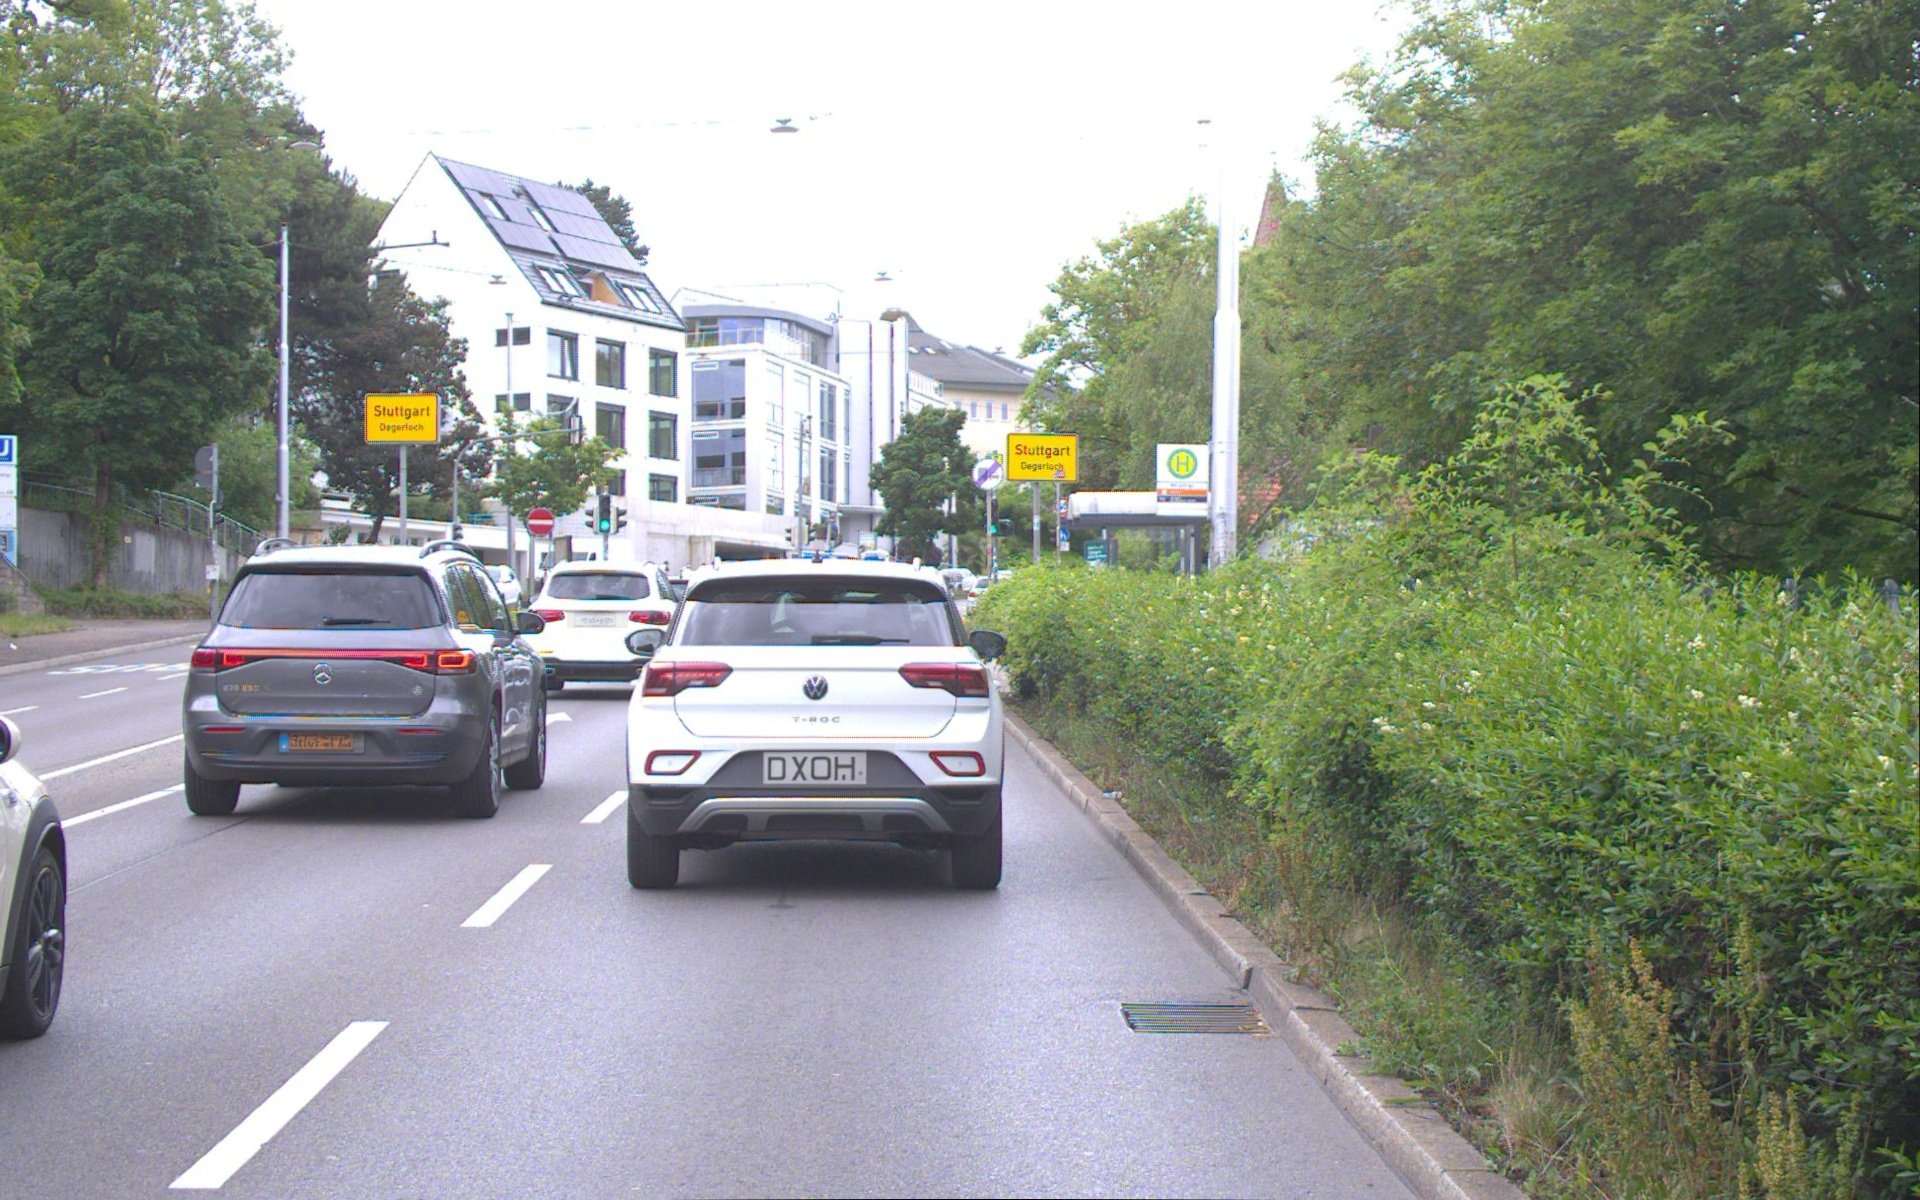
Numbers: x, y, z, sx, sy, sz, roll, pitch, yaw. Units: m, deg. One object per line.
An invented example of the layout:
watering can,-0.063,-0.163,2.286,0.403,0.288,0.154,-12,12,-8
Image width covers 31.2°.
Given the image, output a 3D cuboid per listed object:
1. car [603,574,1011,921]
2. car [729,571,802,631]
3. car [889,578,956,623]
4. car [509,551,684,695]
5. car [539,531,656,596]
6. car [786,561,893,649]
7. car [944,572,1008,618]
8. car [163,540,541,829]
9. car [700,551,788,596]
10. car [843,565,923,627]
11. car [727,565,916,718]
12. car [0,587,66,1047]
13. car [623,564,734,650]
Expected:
car,-0.771,0.642,17.200,1.811,1.534,3.690,0,0,-3
car,-5.025,0.013,89.084,1.858,1.495,4.056,0,0,-3
car,-1.273,0.000,118.409,1.858,1.495,4.055,0,0,6
car,-4.380,0.250,41.967,1.858,1.646,4.636,0,0,-3
car,-14.557,-1.467,138.614,2.233,2.559,7.417,0,0,15
car,-2.287,0.066,65.079,1.873,1.496,4.555,3,0,-2
car,0.544,-0.172,114.629,1.858,1.495,4.055,0,0,4
car,-3.763,0.465,22.026,1.812,1.646,4.636,0,0,-3
car,-9.468,-1.167,151.333,1.984,1.960,5.213,0,0,20
car,-1.922,-0.120,85.194,1.858,1.495,4.056,0,0,-3
car,-1.463,0.393,35.958,1.858,1.495,4.056,0,0,-3
car,-3.674,0.670,9.549,1.627,1.388,3.566,0,0,-3
car,-5.030,0.103,61.941,1.858,1.495,4.056,0,0,-3
